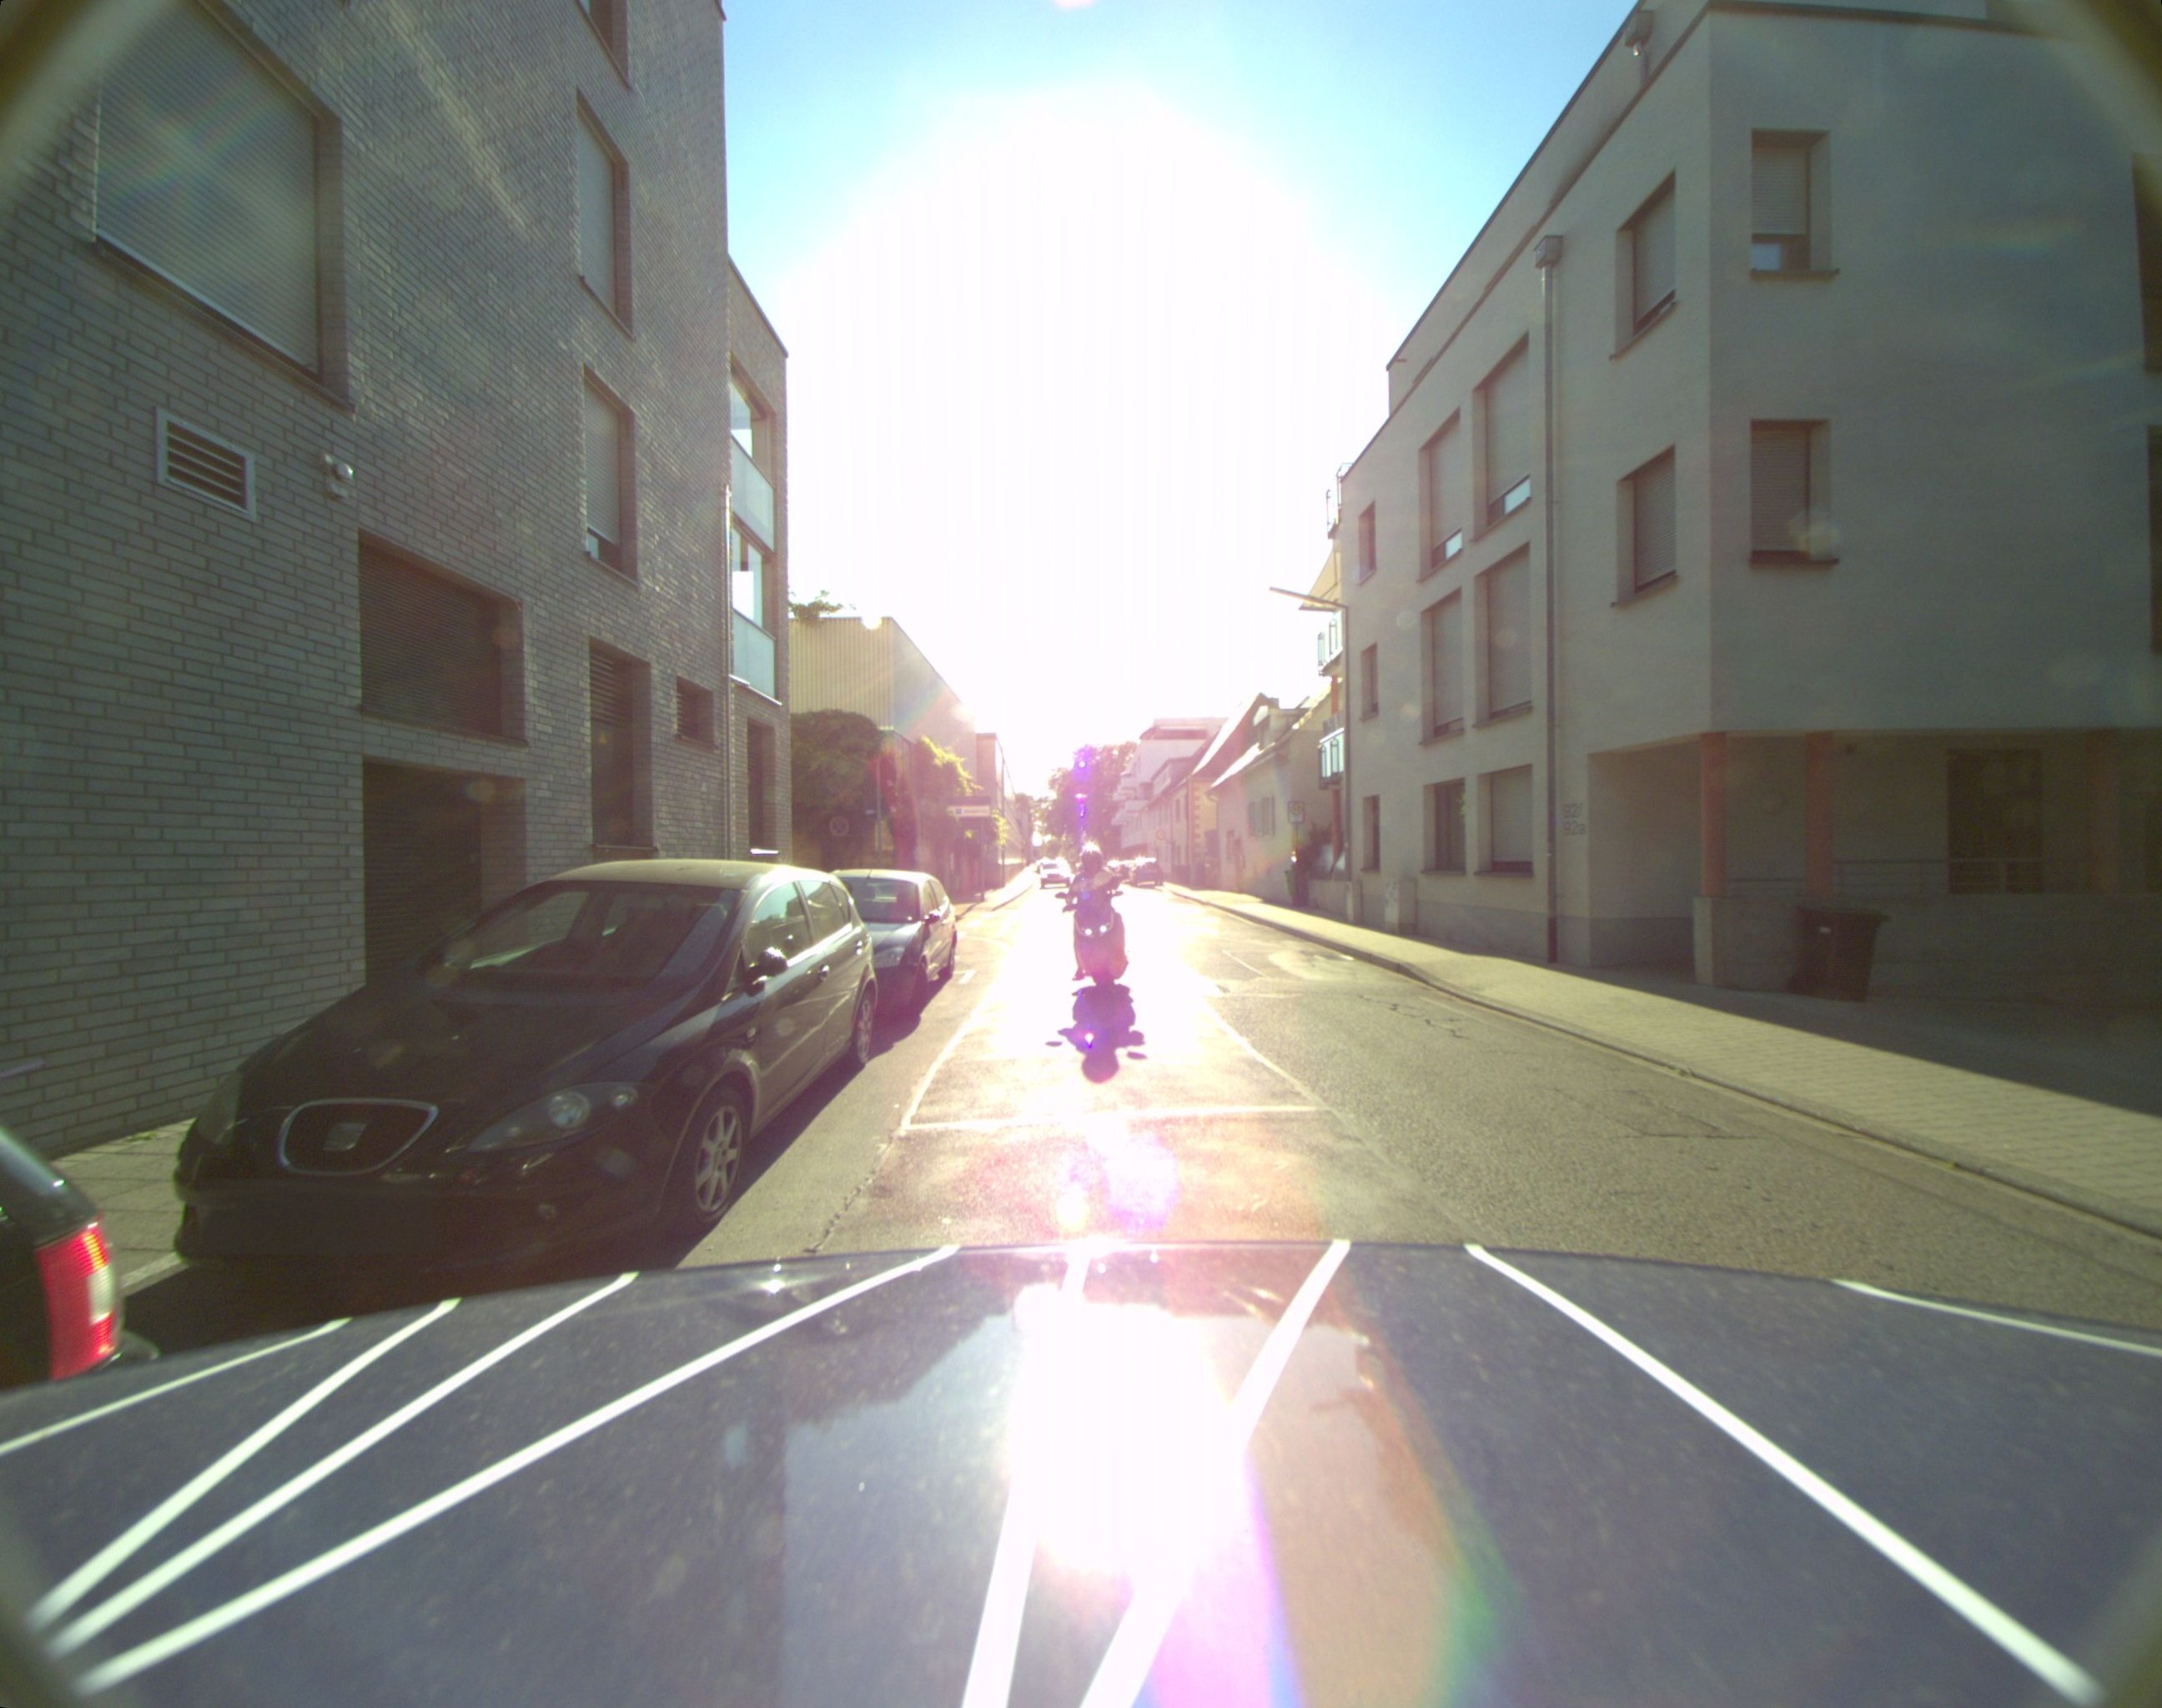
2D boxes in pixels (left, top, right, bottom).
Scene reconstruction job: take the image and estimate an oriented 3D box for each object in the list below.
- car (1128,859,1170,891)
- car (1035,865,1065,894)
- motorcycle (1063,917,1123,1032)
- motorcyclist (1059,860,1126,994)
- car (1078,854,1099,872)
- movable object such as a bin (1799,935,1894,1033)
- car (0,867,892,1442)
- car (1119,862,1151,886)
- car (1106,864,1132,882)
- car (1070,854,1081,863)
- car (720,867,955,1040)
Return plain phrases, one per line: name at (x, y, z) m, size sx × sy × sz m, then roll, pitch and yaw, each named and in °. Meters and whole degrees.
car at (4.154, 1.264, 46.709) m, size 1.999 × 1.619 × 3.999 m, roll -7°, pitch 0°, yaw -1°
car at (-1.899, 1.542, 46.978) m, size 1.708 × 1.569 × 3.915 m, roll -3°, pitch 0°, yaw -2°
motorcycle at (0.128, 1.275, 8.473) m, size 0.598 × 1.004 × 1.821 m, roll 0°, pitch 0°, yaw 1°
motorcyclist at (0.132, 0.787, 8.523) m, size 0.717 × 1.424 × 0.746 m, roll 0°, pitch 0°, yaw 1°
car at (0.656, 0.833, 70.556) m, size 1.736 × 1.456 × 3.999 m, roll -3°, pitch 1°, yaw -1°
movable object such as a bin at (7.451, 1.255, 7.410) m, size 0.491 × 0.871 × 0.433 m, roll 0°, pitch 1°, yaw -3°
car at (-2.388, 0.911, 4.358) m, size 1.655 × 1.582 × 4.341 m, roll 1°, pitch 0°, yaw -2°
car at (3.879, 1.406, 55.377) m, size 1.999 × 1.613 × 3.999 m, roll 0°, pitch 0°, yaw -1°
car at (3.248, 1.631, 65.544) m, size 1.999 × 1.458 × 3.999 m, roll 0°, pitch 0°, yaw -1°
car at (-0.995, 0.780, 138.258) m, size 1.999 × 1.665 × 4.000 m, roll 0°, pitch 0°, yaw 0°
car at (-2.533, 0.944, 8.825) m, size 1.732 × 1.515 × 3.653 m, roll 0°, pitch 0°, yaw -3°
